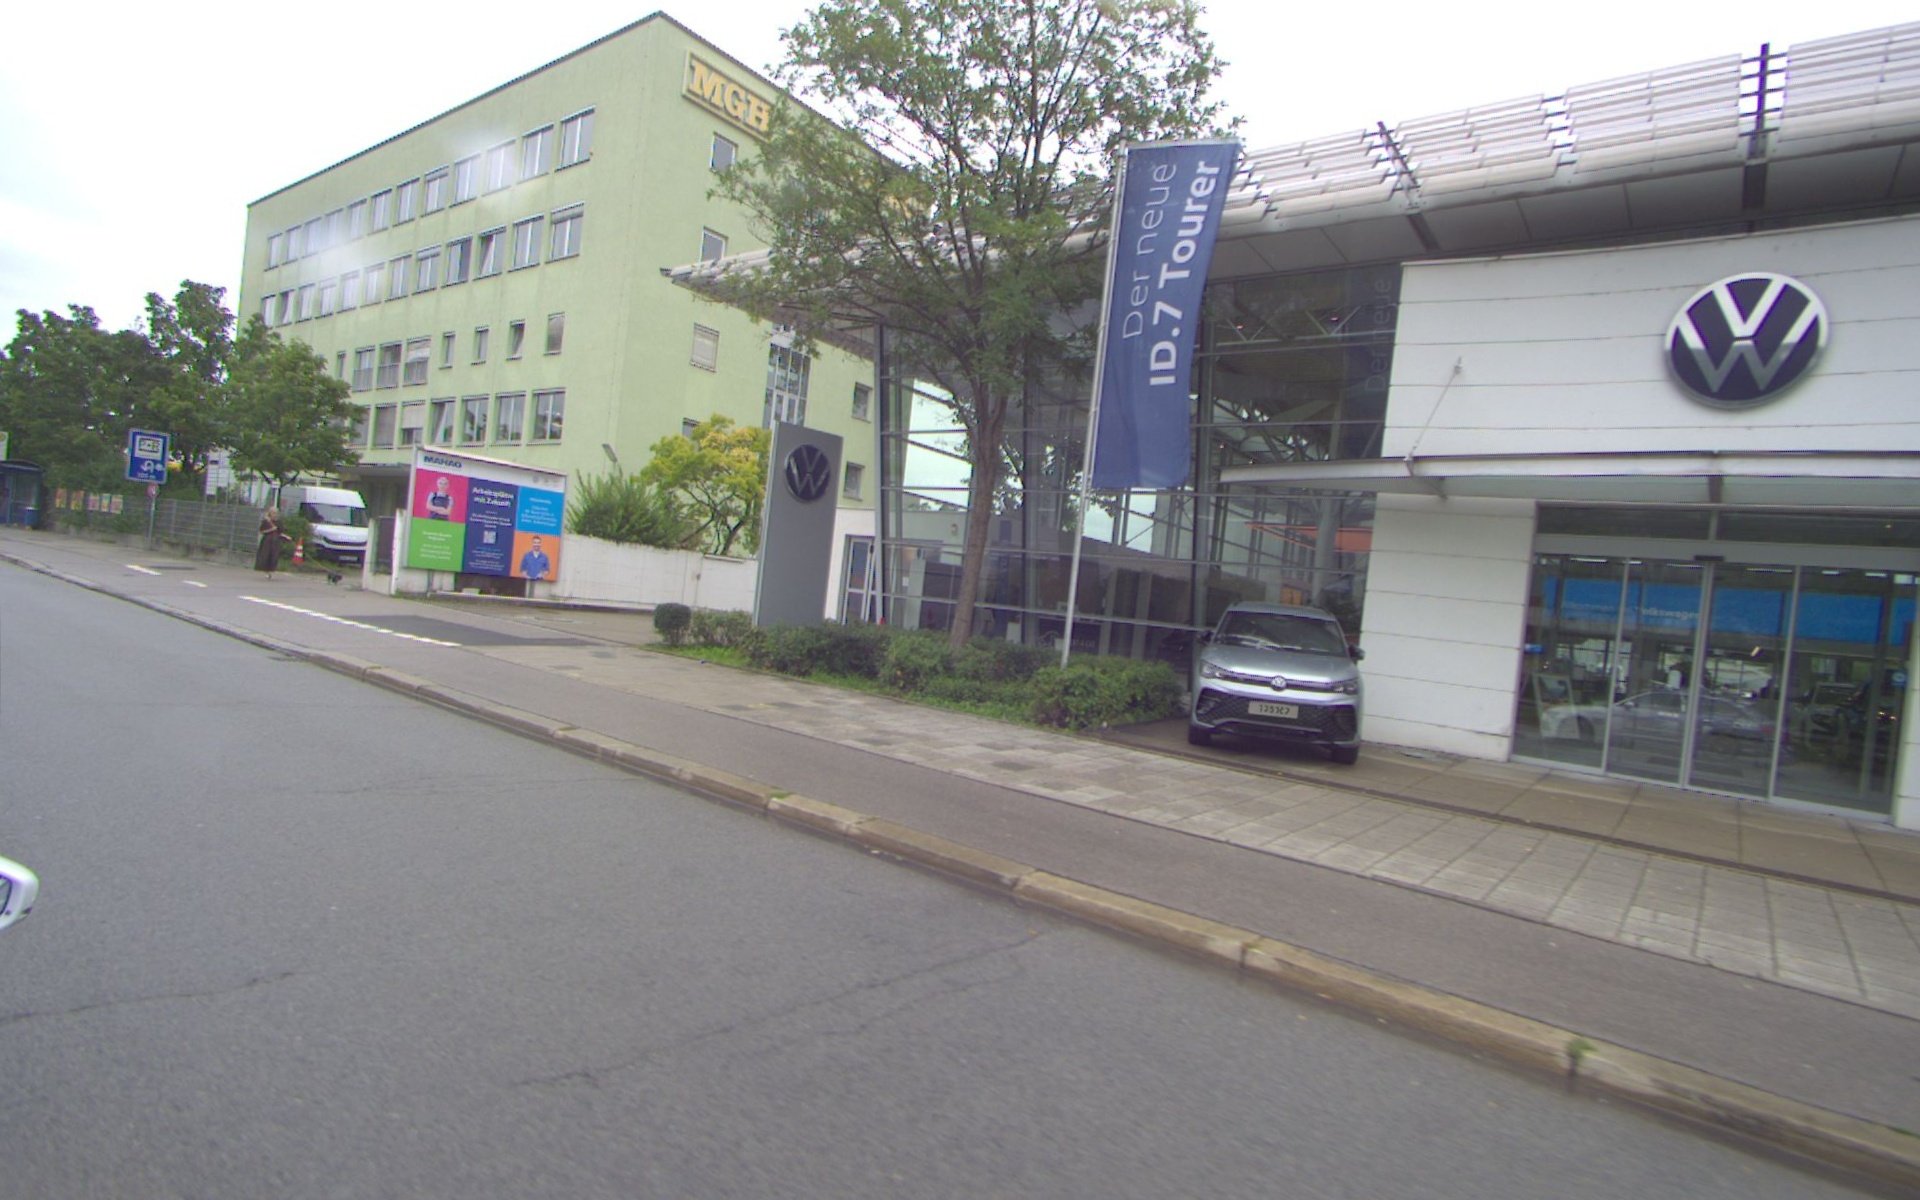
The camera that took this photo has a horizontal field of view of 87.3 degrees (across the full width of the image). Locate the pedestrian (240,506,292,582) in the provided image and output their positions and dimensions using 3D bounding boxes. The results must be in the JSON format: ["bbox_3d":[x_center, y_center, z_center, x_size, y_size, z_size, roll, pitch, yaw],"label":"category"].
[{"bbox_3d":[-16.853,-1.355,24.417,0.881,1.753,0.757,7,4,35],"label":"pedestrian"}]

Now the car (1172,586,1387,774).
[{"bbox_3d":[3.925,0.830,12.537,1.970,1.729,4.601,5,1,17],"label":"car"}]

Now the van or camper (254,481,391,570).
[{"bbox_3d":[-21.881,-2.608,34.349,7.290,2.528,2.120,6,0,44],"label":"van or camper"}]
